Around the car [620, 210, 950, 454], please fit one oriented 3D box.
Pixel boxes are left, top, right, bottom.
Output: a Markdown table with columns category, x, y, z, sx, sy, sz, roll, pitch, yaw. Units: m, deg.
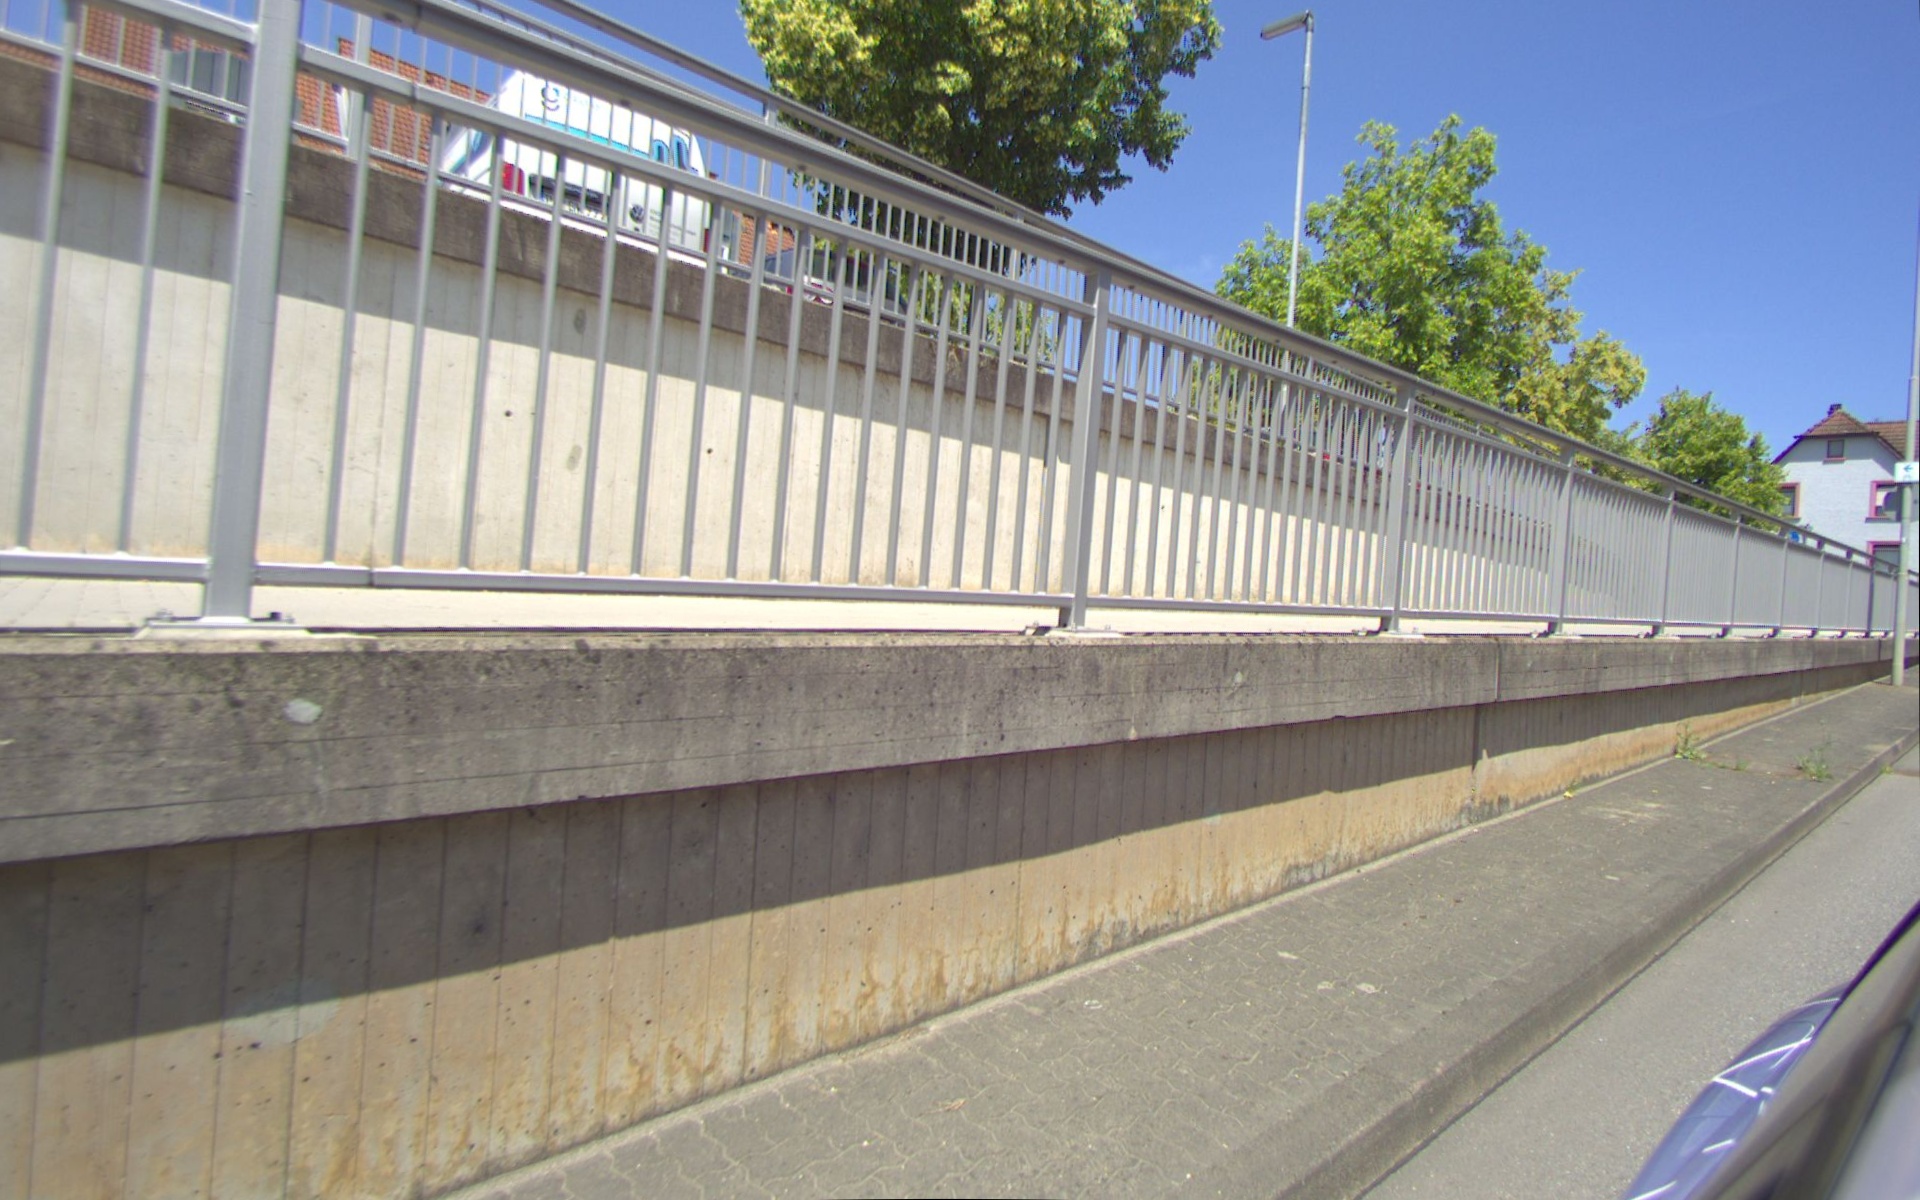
| category | x | y | z | sx | sy | sz | roll | pitch | yaw |
| --- | --- | --- | --- | --- | --- | --- | --- | --- | --- |
| car | -2.115 | -2.707 | 11.186 | 1.655 | 1.616 | 4.214 | 4 | -1 | -39 |

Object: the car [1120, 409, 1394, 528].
| category | x | y | z | sx | sy | sz | roll | pitch | yaw |
| --- | --- | --- | --- | --- | --- | --- | --- | --- | --- |
| car | 4.907 | -2.105 | 17.200 | 1.655 | 1.517 | 4.214 | 4 | -1 | -39 |

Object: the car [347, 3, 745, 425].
| category | x | y | z | sx | sy | sz | roll | pitch | yaw |
| --- | --- | --- | --- | --- | --- | --- | --- | --- | --- |
| car | -4.171 | -3.104 | 9.558 | 1.952 | 2.089 | 5.124 | 4 | -1 | -39 |

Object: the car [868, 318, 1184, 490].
| category | x | y | z | sx | sy | sz | roll | pitch | yaw |
| --- | --- | --- | --- | --- | --- | --- | --- | --- | --- |
| car | 0.715 | -2.451 | 13.620 | 1.717 | 1.517 | 4.296 | 4 | -1 | -39 |

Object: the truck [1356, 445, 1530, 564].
| category | x | y | z | sx | sy | sz | roll | pitch | yaw |
| --- | --- | --- | --- | --- | --- | --- | --- | --- | --- |
| truck | 12.458 | -2.302 | 25.924 | 5.167 | 2.364 | 2.136 | 4 | -1 | -42 |
